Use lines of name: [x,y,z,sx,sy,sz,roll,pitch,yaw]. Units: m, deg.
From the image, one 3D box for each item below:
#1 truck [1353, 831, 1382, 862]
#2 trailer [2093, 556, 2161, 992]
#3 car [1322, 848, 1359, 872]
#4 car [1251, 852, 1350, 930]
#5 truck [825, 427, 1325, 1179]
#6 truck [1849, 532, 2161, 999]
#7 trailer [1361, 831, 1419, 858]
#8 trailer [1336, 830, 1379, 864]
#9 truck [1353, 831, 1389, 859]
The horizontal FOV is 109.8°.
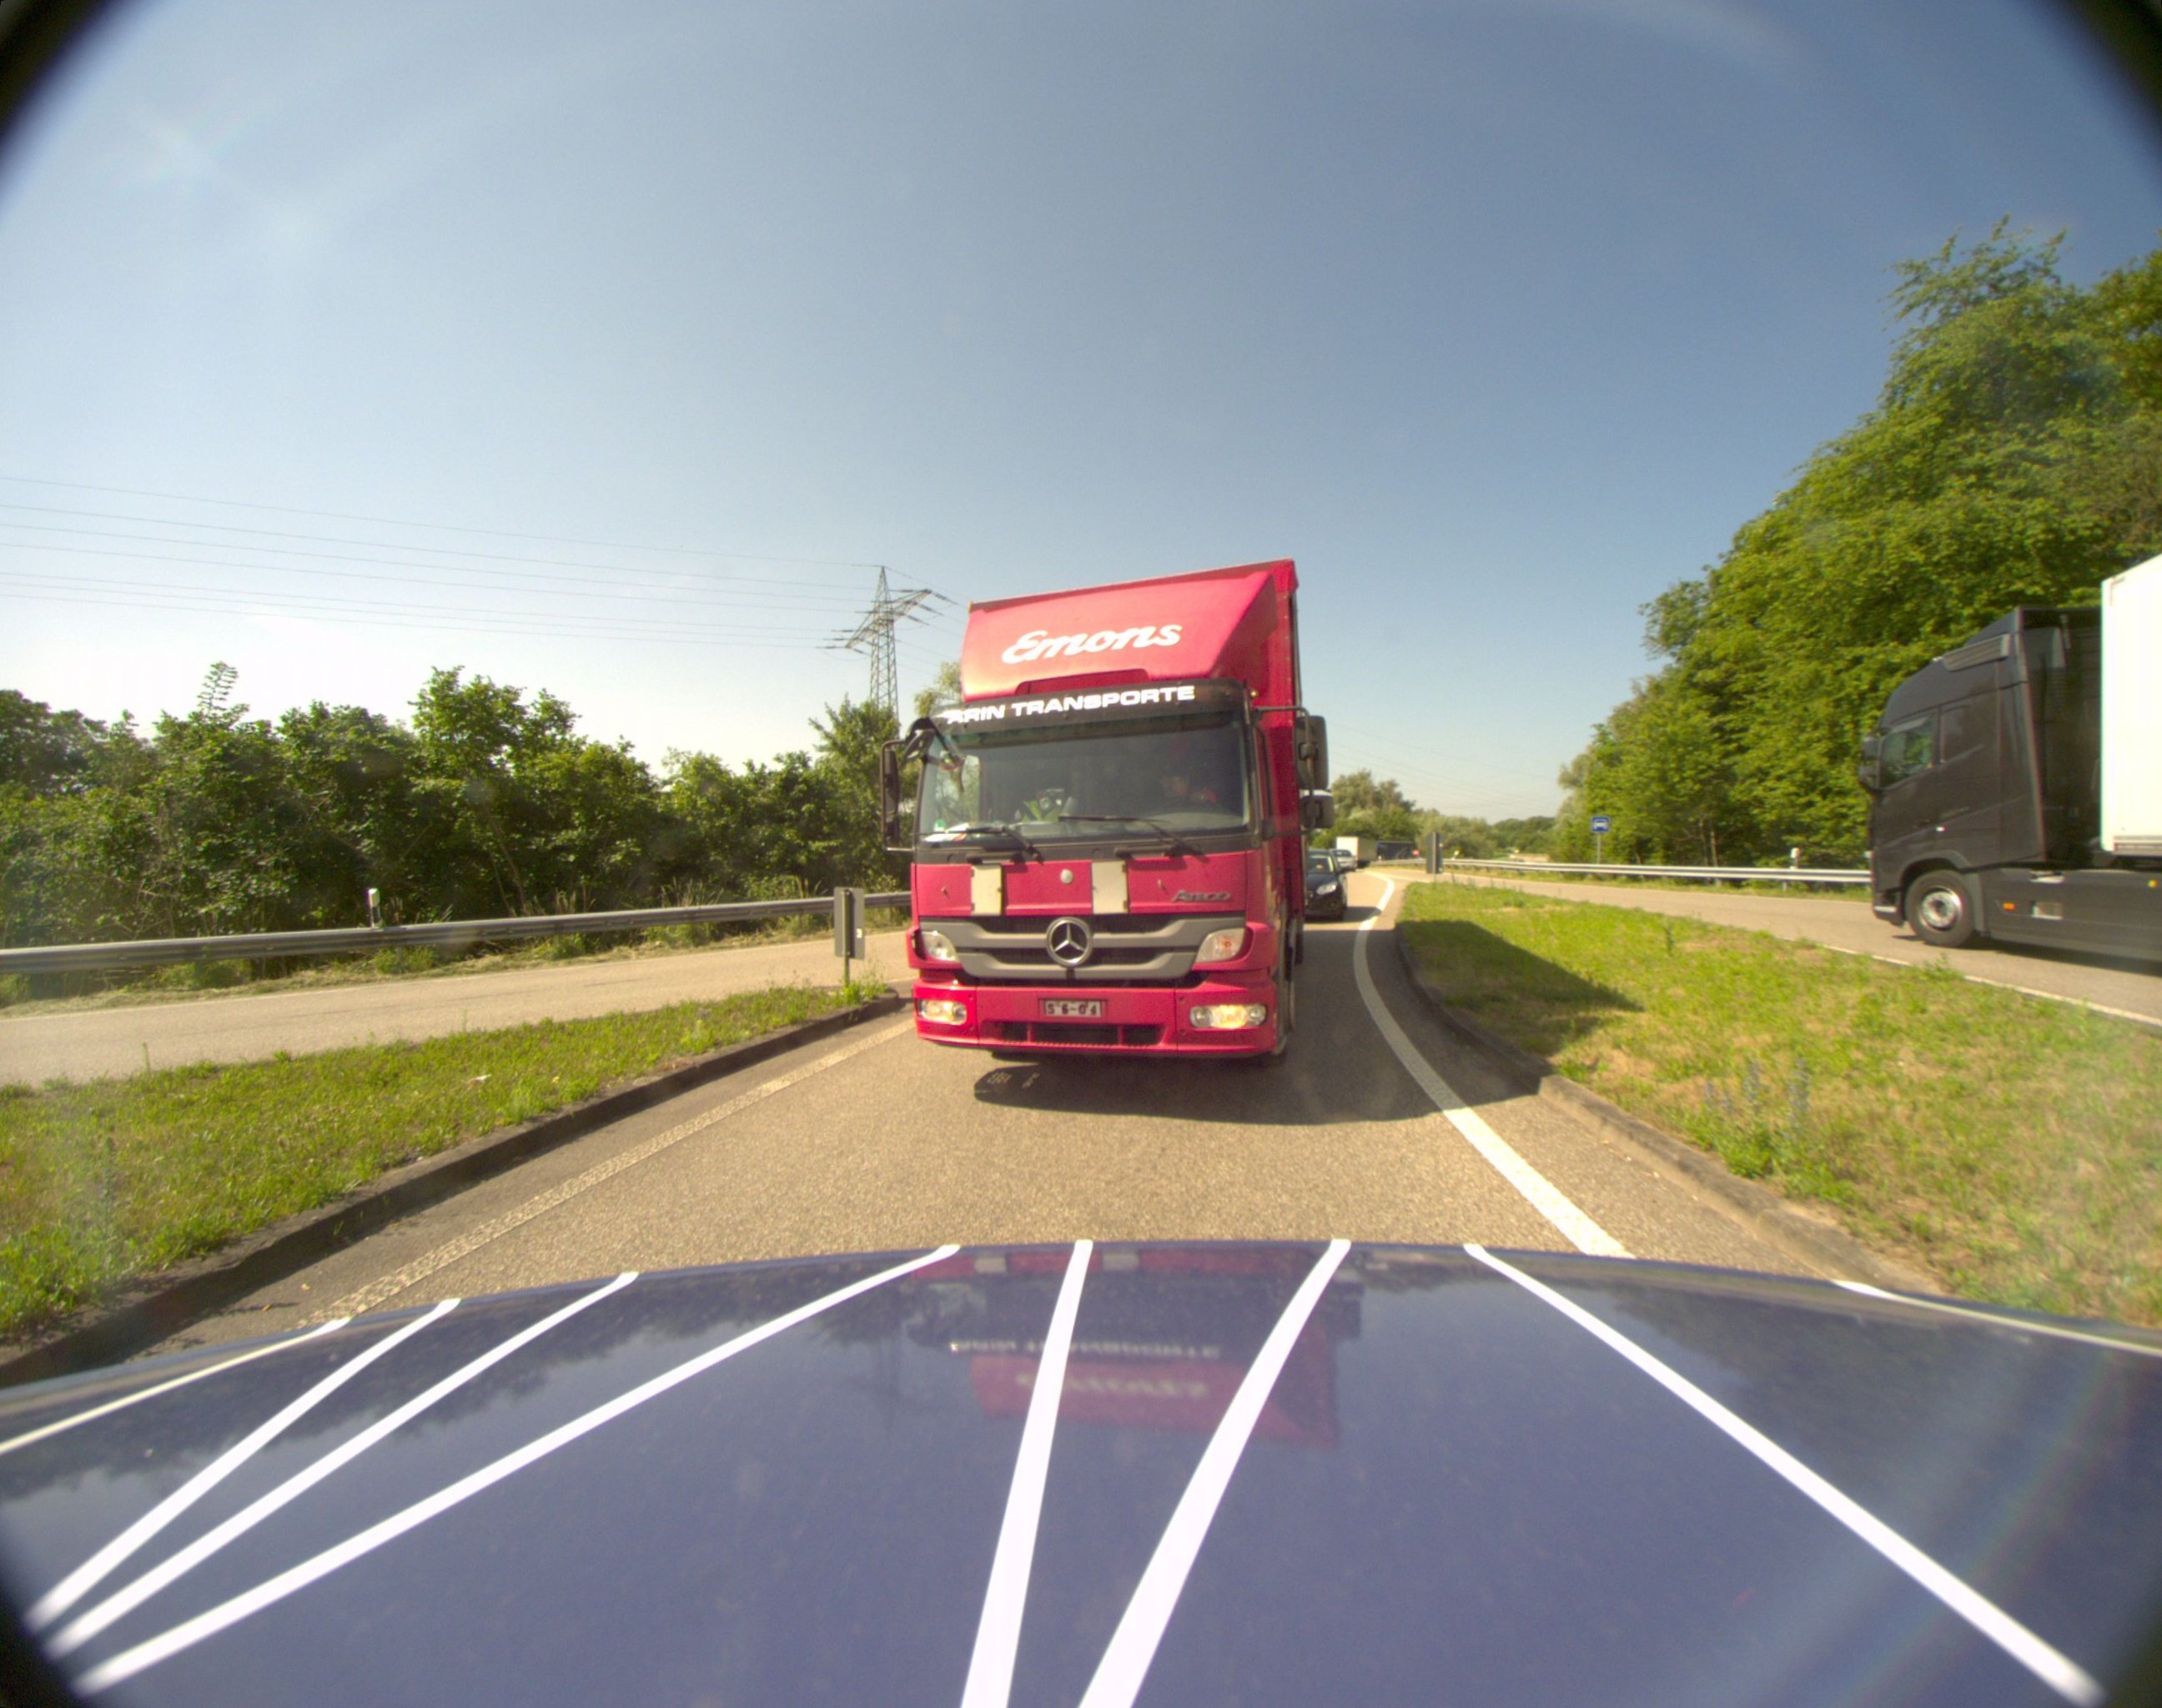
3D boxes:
truck: [39.879,-1.012,105.588,2.932,4.222,5.743,1,1,29]
trailer: [8.229,-0.631,1.566,2.888,4.141,14.007,-2,1,34]
car: [15.887,0.338,46.699,1.785,1.377,4.382,-2,0,14]
car: [4.846,0.715,16.437,1.785,1.406,4.005,-2,0,20]
truck: [1.187,-0.264,8.503,2.686,3.640,9.273,-1,0,17]
truck: [11.324,-0.820,7.392,2.874,4.149,5.978,-1,0,17]
trailer: [50.633,-1.459,124.155,14.010,4.216,2.922,0,1,-42]
trailer: [36.509,-0.952,99.948,2.951,4.243,14.007,1,1,30]
truck: [45.621,-1.448,119.609,5.744,4.214,2.932,0,2,-42]
